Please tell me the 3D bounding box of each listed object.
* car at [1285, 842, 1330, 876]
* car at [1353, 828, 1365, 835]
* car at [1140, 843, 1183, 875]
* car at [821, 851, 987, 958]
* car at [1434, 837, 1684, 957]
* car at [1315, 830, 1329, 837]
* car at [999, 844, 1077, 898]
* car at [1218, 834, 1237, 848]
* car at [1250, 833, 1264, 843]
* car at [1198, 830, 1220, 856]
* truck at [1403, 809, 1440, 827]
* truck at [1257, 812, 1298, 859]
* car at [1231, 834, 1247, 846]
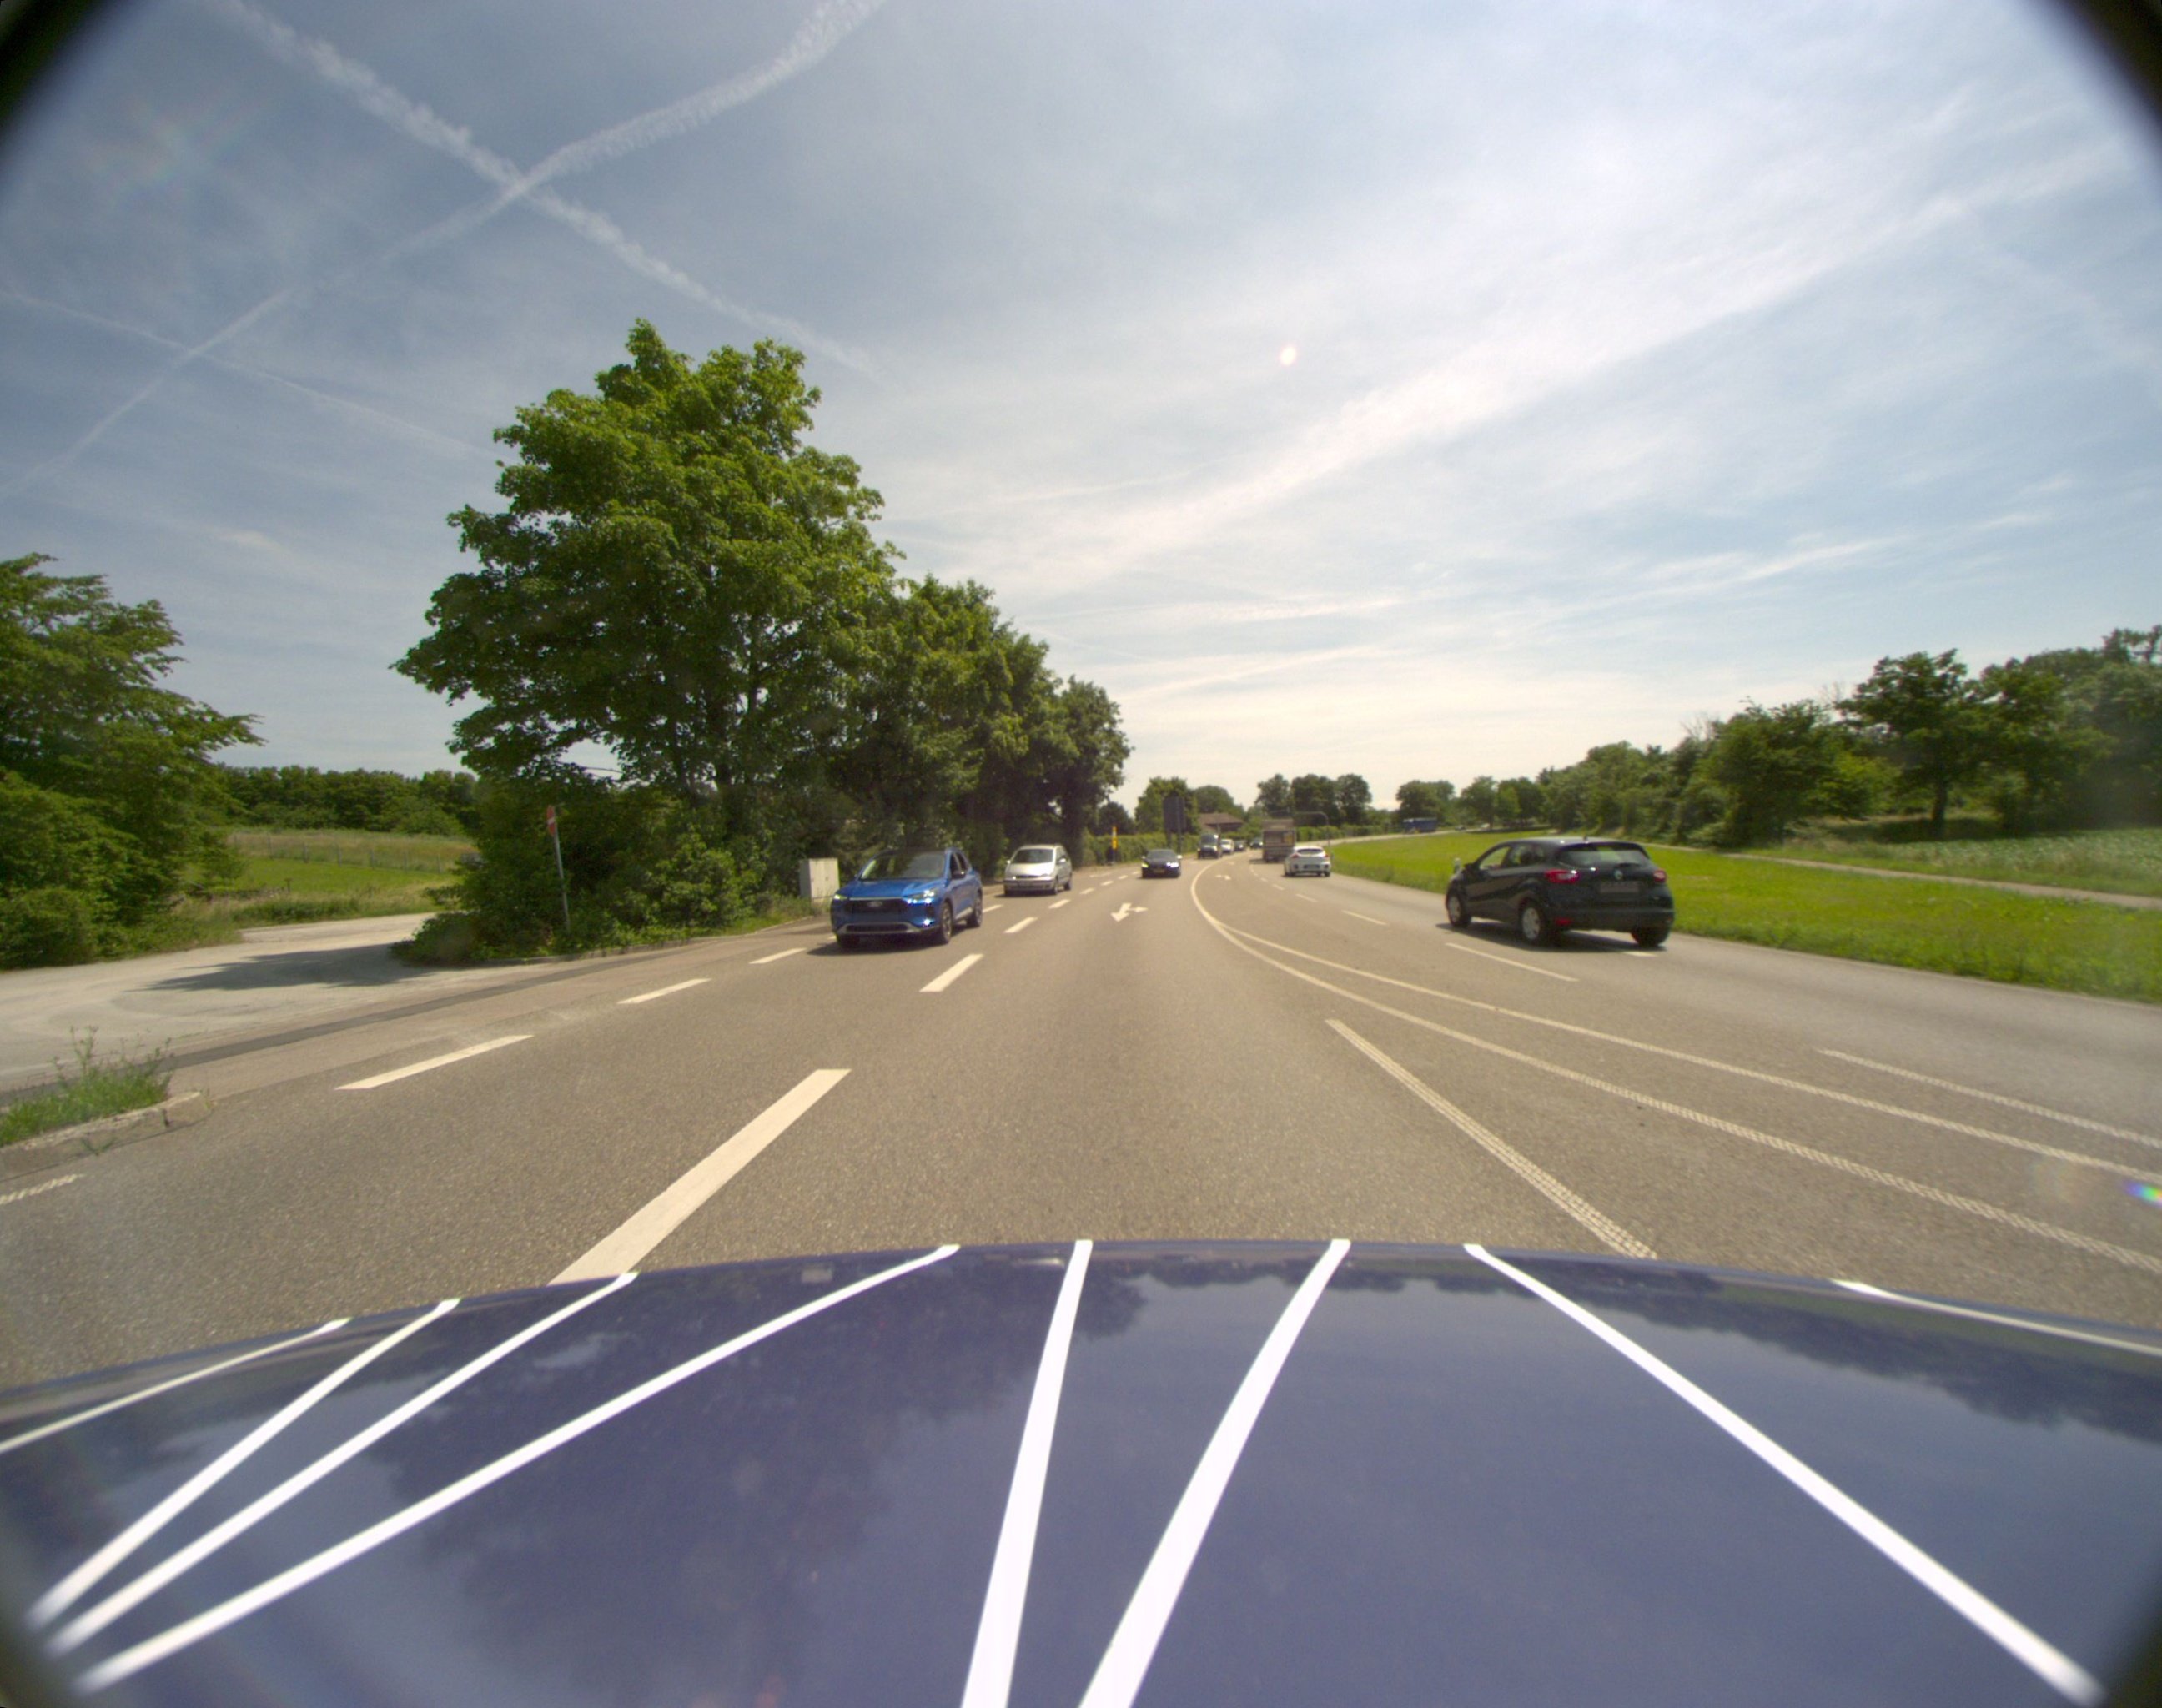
[{"bbox_3d":[10.717,0.181,36.213,1.619,1.454,4.002,-2,1,11],"label":"car"},{"bbox_3d":[67.559,-5.437,184.650,1.779,1.484,4.165,-1,1,33],"label":"car"},{"bbox_3d":[4.101,0.218,38.095,1.782,1.484,4.160,-2,0,10],"label":"car"},{"bbox_3d":[-3.028,0.789,14.014,1.783,1.550,4.388,-2,1,3],"label":"car"},{"bbox_3d":[7.208,0.527,11.981,1.620,1.550,4.000,-1,1,4],"label":"car"},{"bbox_3d":[51.813,-4.435,163.183,1.779,1.484,4.165,-2,1,33],"label":"car"},{"bbox_3d":[-1.403,0.524,26.904,1.864,1.682,4.528,-2,1,8],"label":"car"},{"bbox_3d":[17.211,-1.527,89.138,1.781,1.484,4.162,-1,1,17],"label":"car"},{"bbox_3d":[26.774,-2.415,115.354,1.781,1.484,4.162,-1,1,17],"label":"car"},{"bbox_3d":[12.757,-1.094,75.674,1.979,2.504,4.160,-2,1,12],"label":"car"},{"bbox_3d":[92.481,-9.940,206.064,16.189,4.583,2.738,-3,2,-42],"label":"truck"},{"bbox_3d":[15.821,-1.512,61.317,2.973,3.550,6.904,-1,1,14],"label":"truck"},{"bbox_3d":[21.196,-1.935,101.886,1.781,1.484,4.162,-1,1,17],"label":"car"}]
